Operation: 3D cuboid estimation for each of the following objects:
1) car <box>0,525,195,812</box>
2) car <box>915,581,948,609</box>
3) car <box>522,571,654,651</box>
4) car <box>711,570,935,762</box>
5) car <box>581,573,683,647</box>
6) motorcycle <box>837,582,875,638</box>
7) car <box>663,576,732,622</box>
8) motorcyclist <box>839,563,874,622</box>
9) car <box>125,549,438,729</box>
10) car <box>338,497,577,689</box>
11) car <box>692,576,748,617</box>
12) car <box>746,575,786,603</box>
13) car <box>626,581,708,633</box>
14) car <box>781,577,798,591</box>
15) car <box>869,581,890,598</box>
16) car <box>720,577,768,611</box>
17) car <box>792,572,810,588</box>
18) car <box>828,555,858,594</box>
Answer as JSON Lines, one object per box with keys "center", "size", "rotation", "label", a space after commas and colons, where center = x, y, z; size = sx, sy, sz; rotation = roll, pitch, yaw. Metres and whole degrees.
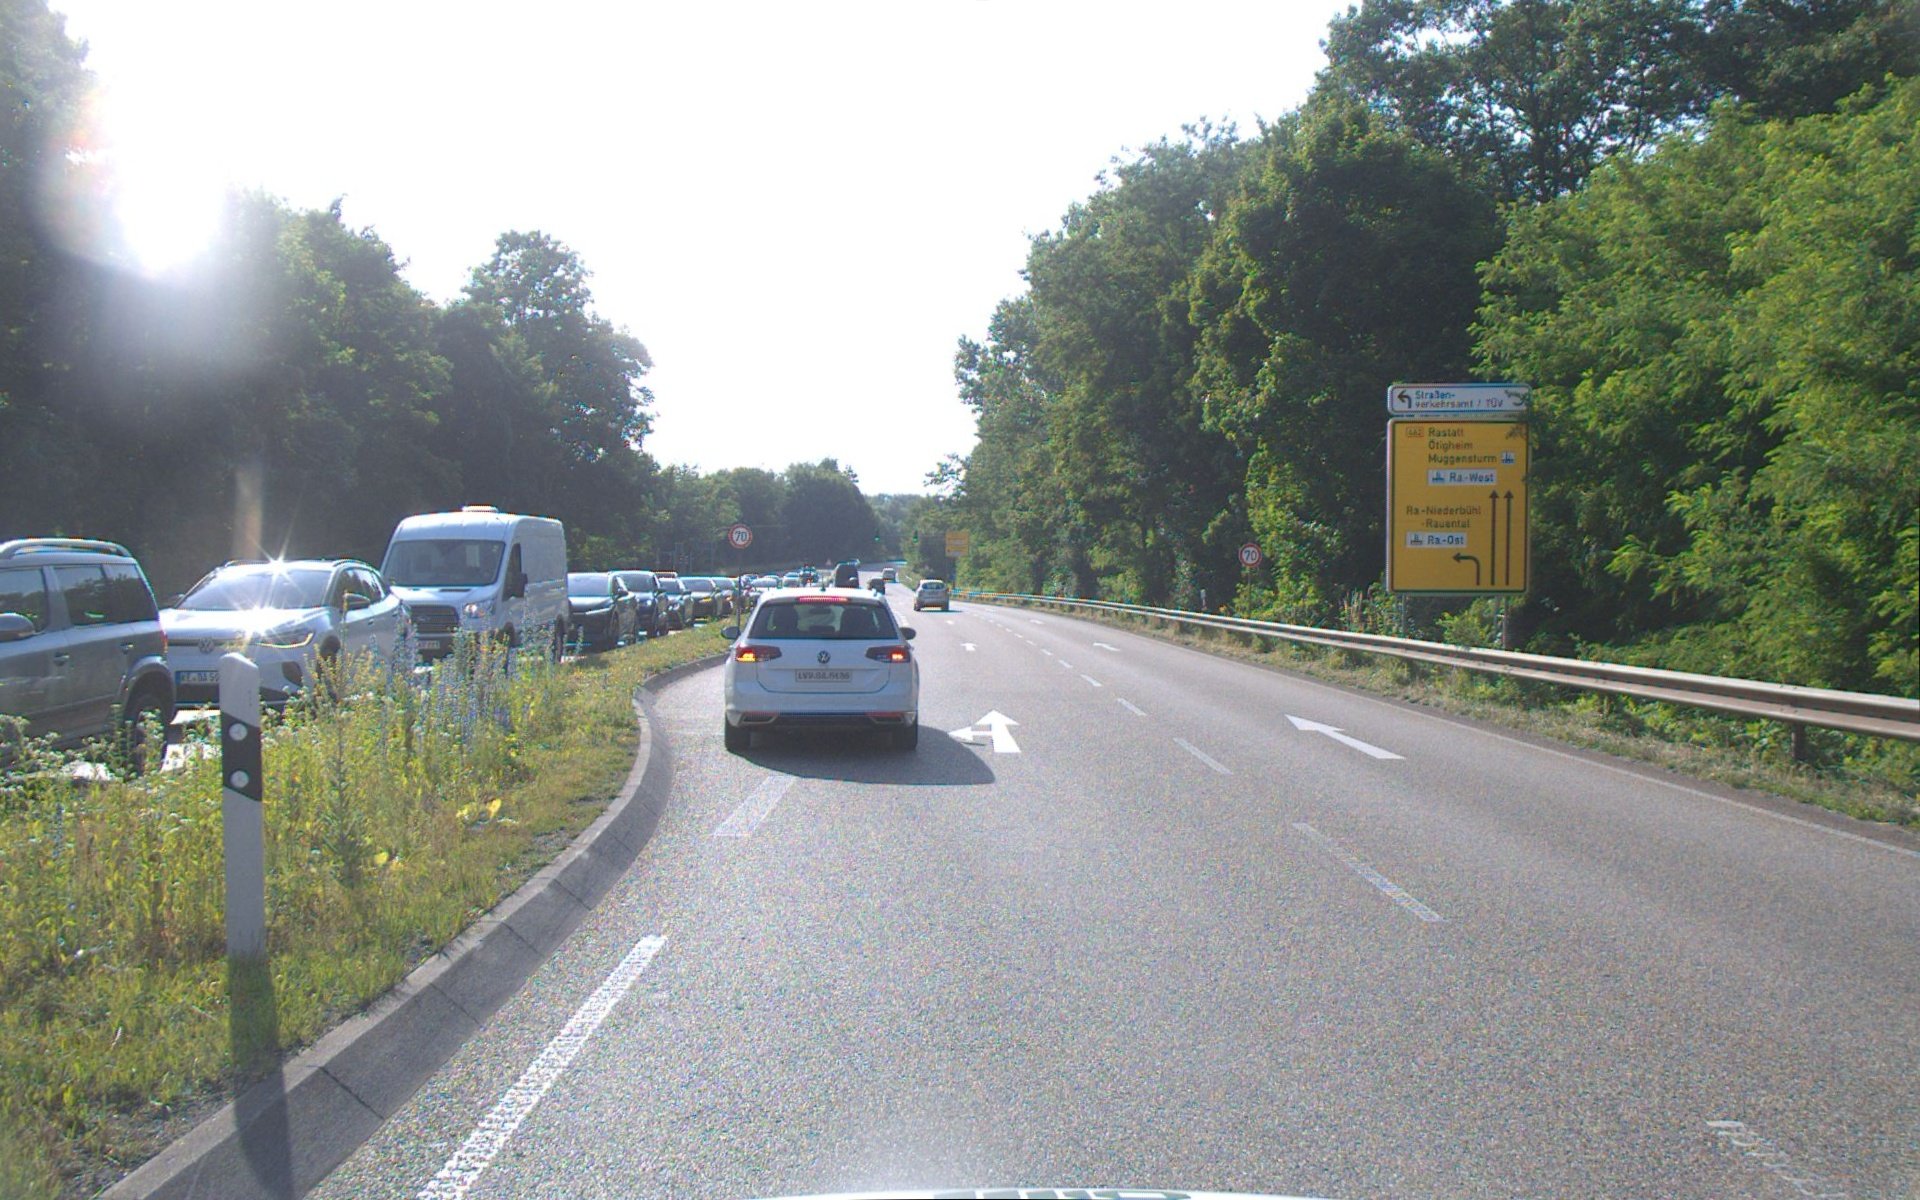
{"center": [-6.432, 0.389, 10.154], "size": [1.666, 1.660, 4.367], "rotation": [-1, 1, -4], "label": "car"}
{"center": [-1.608, -0.293, 91.815], "size": [1.726, 1.404, 3.970], "rotation": [2, 1, -2], "label": "car"}
{"center": [-7.531, 0.157, 33.946], "size": [1.725, 1.482, 5.183], "rotation": [-1, 1, -3], "label": "car"}
{"center": [-1.333, 0.518, 16.456], "size": [1.833, 1.548, 4.830], "rotation": [3, 1, -4], "label": "car"}
{"center": [-8.012, 0.192, 40.728], "size": [1.736, 1.698, 4.798], "rotation": [-1, 1, -3], "label": "car"}
{"center": [-2.977, 0.273, 47.449], "size": [0.890, 1.478, 2.689], "rotation": [-2, 1, -1], "label": "motorcycle"}
{"center": [-8.826, -0.069, 55.996], "size": [1.736, 1.448, 5.190], "rotation": [-1, 1, -3], "label": "car"}
{"center": [-2.964, -0.232, 47.527], "size": [0.866, 1.644, 1.290], "rotation": [2, 1, -1], "label": "motorcyclist"}
{"center": [-7.039, 0.314, 17.730], "size": [1.666, 1.660, 4.744], "rotation": [-1, 1, -4], "label": "car"}
{"center": [-7.524, -0.157, 25.521], "size": [2.033, 2.578, 6.161], "rotation": [-1, 1, -3], "label": "car"}
{"center": [-9.114, -0.162, 62.987], "size": [1.673, 1.448, 4.210], "rotation": [-1, 1, -3], "label": "car"}
{"center": [-10.537, -0.623, 90.151], "size": [1.830, 1.442, 4.414], "rotation": [-1, 1, -3], "label": "car"}
{"center": [-8.576, 0.168, 48.723], "size": [1.736, 1.403, 4.841], "rotation": [-1, 1, -3], "label": "car"}
{"center": [-18.564, -1.776, 179.891], "size": [1.753, 1.436, 4.222], "rotation": [2, 1, -5], "label": "car"}
{"center": [-7.865, -1.056, 161.017], "size": [1.711, 1.564, 3.920], "rotation": [2, 1, -7], "label": "car"}
{"center": [-9.743, -0.285, 74.882], "size": [1.731, 1.442, 4.432], "rotation": [-1, 1, -3], "label": "car"}
{"center": [-19.100, -2.423, 198.761], "size": [2.036, 1.794, 4.752], "rotation": [-1, 1, -5], "label": "car"}
{"center": [-9.196, -2.043, 130.607], "size": [2.165, 2.939, 7.008], "rotation": [-1, 1, -3], "label": "car"}
